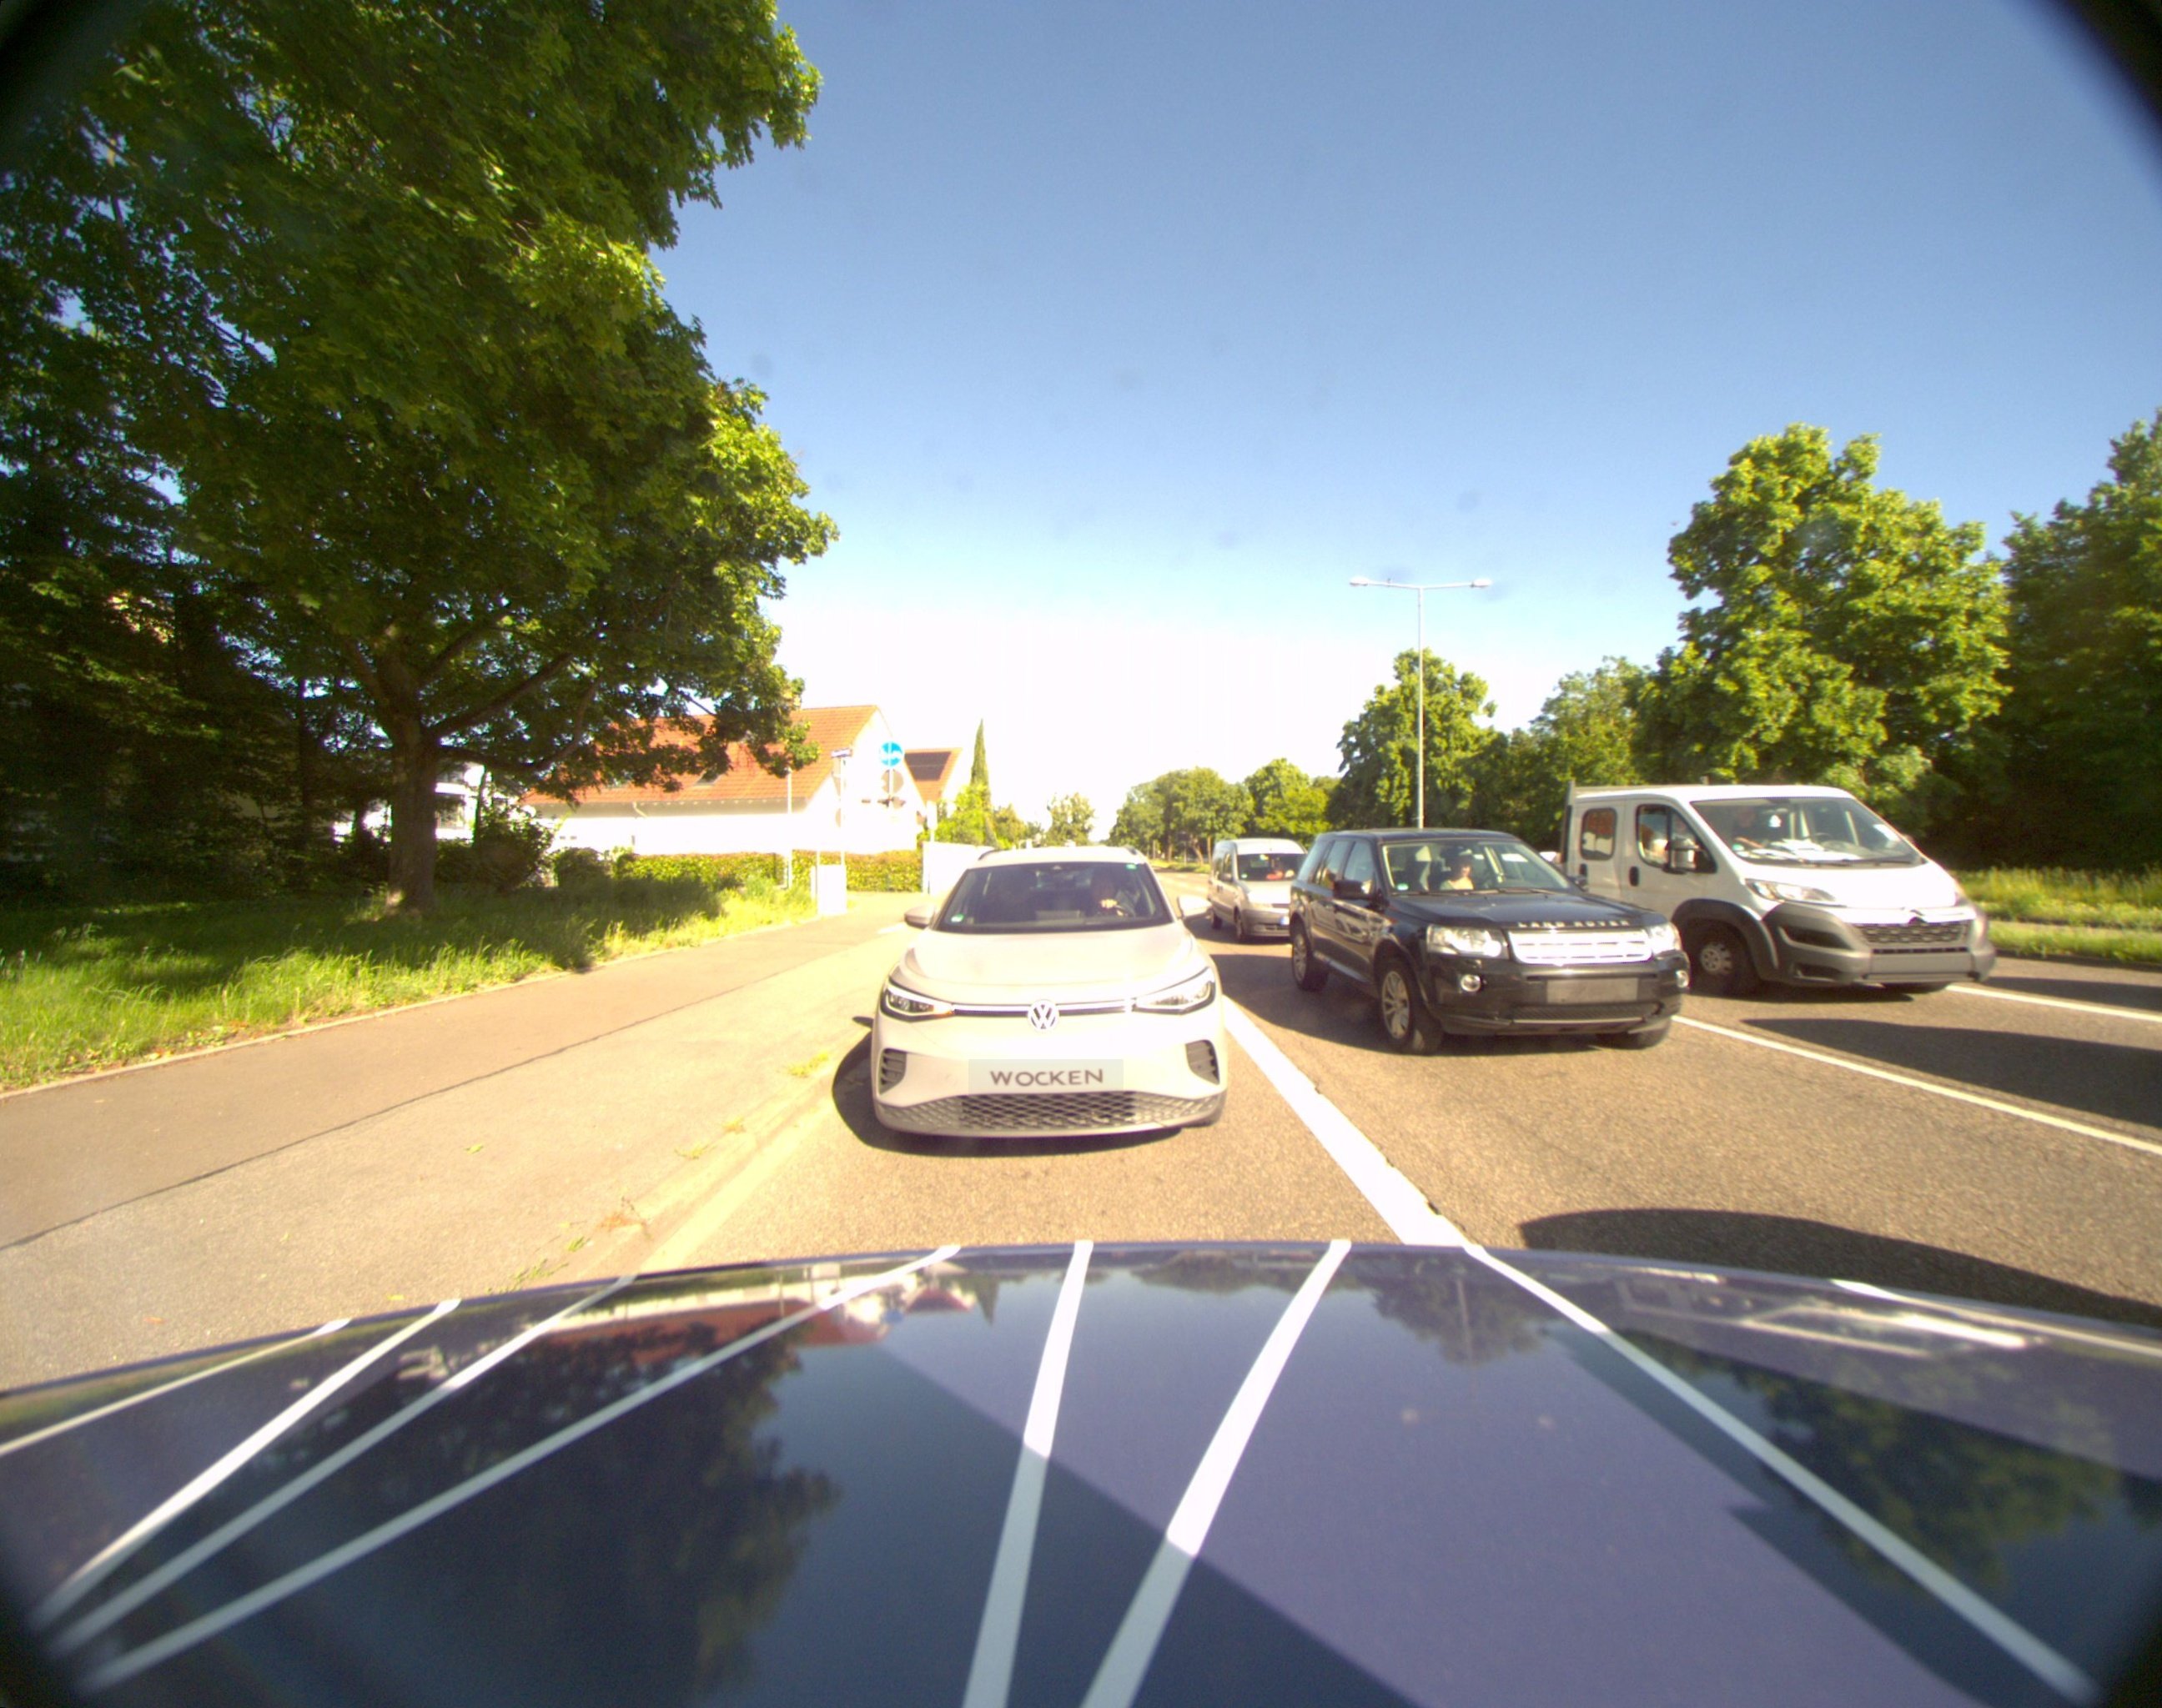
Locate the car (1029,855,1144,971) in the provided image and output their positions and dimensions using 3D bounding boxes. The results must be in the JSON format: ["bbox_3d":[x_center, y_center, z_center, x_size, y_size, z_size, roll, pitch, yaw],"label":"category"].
[{"bbox_3d":[0.107,0.863,13.027,1.632,1.586,4.024,-2,1,1],"label":"car"}]

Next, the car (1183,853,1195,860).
[{"bbox_3d":[20.392,0.494,143.356,1.792,1.409,4.000,0,0,1],"label":"car"}]

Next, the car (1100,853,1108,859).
[{"bbox_3d":[5.194,0.483,171.421,1.704,1.466,3.931,0,0,1],"label":"car"}]

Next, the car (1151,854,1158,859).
[{"bbox_3d":[21.281,0.685,220.542,1.792,1.409,4.000,0,0,1],"label":"car"}]

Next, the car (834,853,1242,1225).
[{"bbox_3d":[-0.172,0.846,5.583,1.858,1.679,4.206,0,1,1],"label":"car"}]

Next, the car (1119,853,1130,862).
[{"bbox_3d":[7.622,0.574,133.495,1.704,1.466,3.931,-1,0,0],"label":"car"}]

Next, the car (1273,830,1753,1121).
[{"bbox_3d":[3.164,0.712,6.779,1.816,1.721,4.386,-2,1,1],"label":"car"}]

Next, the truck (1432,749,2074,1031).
[{"bbox_3d":[7.211,0.267,9.772,2.185,2.307,6.842,-2,1,0],"label":"truck"}]

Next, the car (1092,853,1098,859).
[{"bbox_3d":[4.126,0.565,227.648,1.726,1.630,4.000,0,0,1],"label":"car"}]

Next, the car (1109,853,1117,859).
[{"bbox_3d":[8.533,0.536,202.742,1.726,1.436,4.000,0,0,0],"label":"car"}]

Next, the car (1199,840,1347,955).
[{"bbox_3d":[3.323,0.651,13.973,1.632,1.741,4.386,-2,1,1],"label":"car"}]

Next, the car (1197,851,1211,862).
[{"bbox_3d":[20.219,0.407,125.050,1.792,1.674,4.000,0,0,1],"label":"car"}]
